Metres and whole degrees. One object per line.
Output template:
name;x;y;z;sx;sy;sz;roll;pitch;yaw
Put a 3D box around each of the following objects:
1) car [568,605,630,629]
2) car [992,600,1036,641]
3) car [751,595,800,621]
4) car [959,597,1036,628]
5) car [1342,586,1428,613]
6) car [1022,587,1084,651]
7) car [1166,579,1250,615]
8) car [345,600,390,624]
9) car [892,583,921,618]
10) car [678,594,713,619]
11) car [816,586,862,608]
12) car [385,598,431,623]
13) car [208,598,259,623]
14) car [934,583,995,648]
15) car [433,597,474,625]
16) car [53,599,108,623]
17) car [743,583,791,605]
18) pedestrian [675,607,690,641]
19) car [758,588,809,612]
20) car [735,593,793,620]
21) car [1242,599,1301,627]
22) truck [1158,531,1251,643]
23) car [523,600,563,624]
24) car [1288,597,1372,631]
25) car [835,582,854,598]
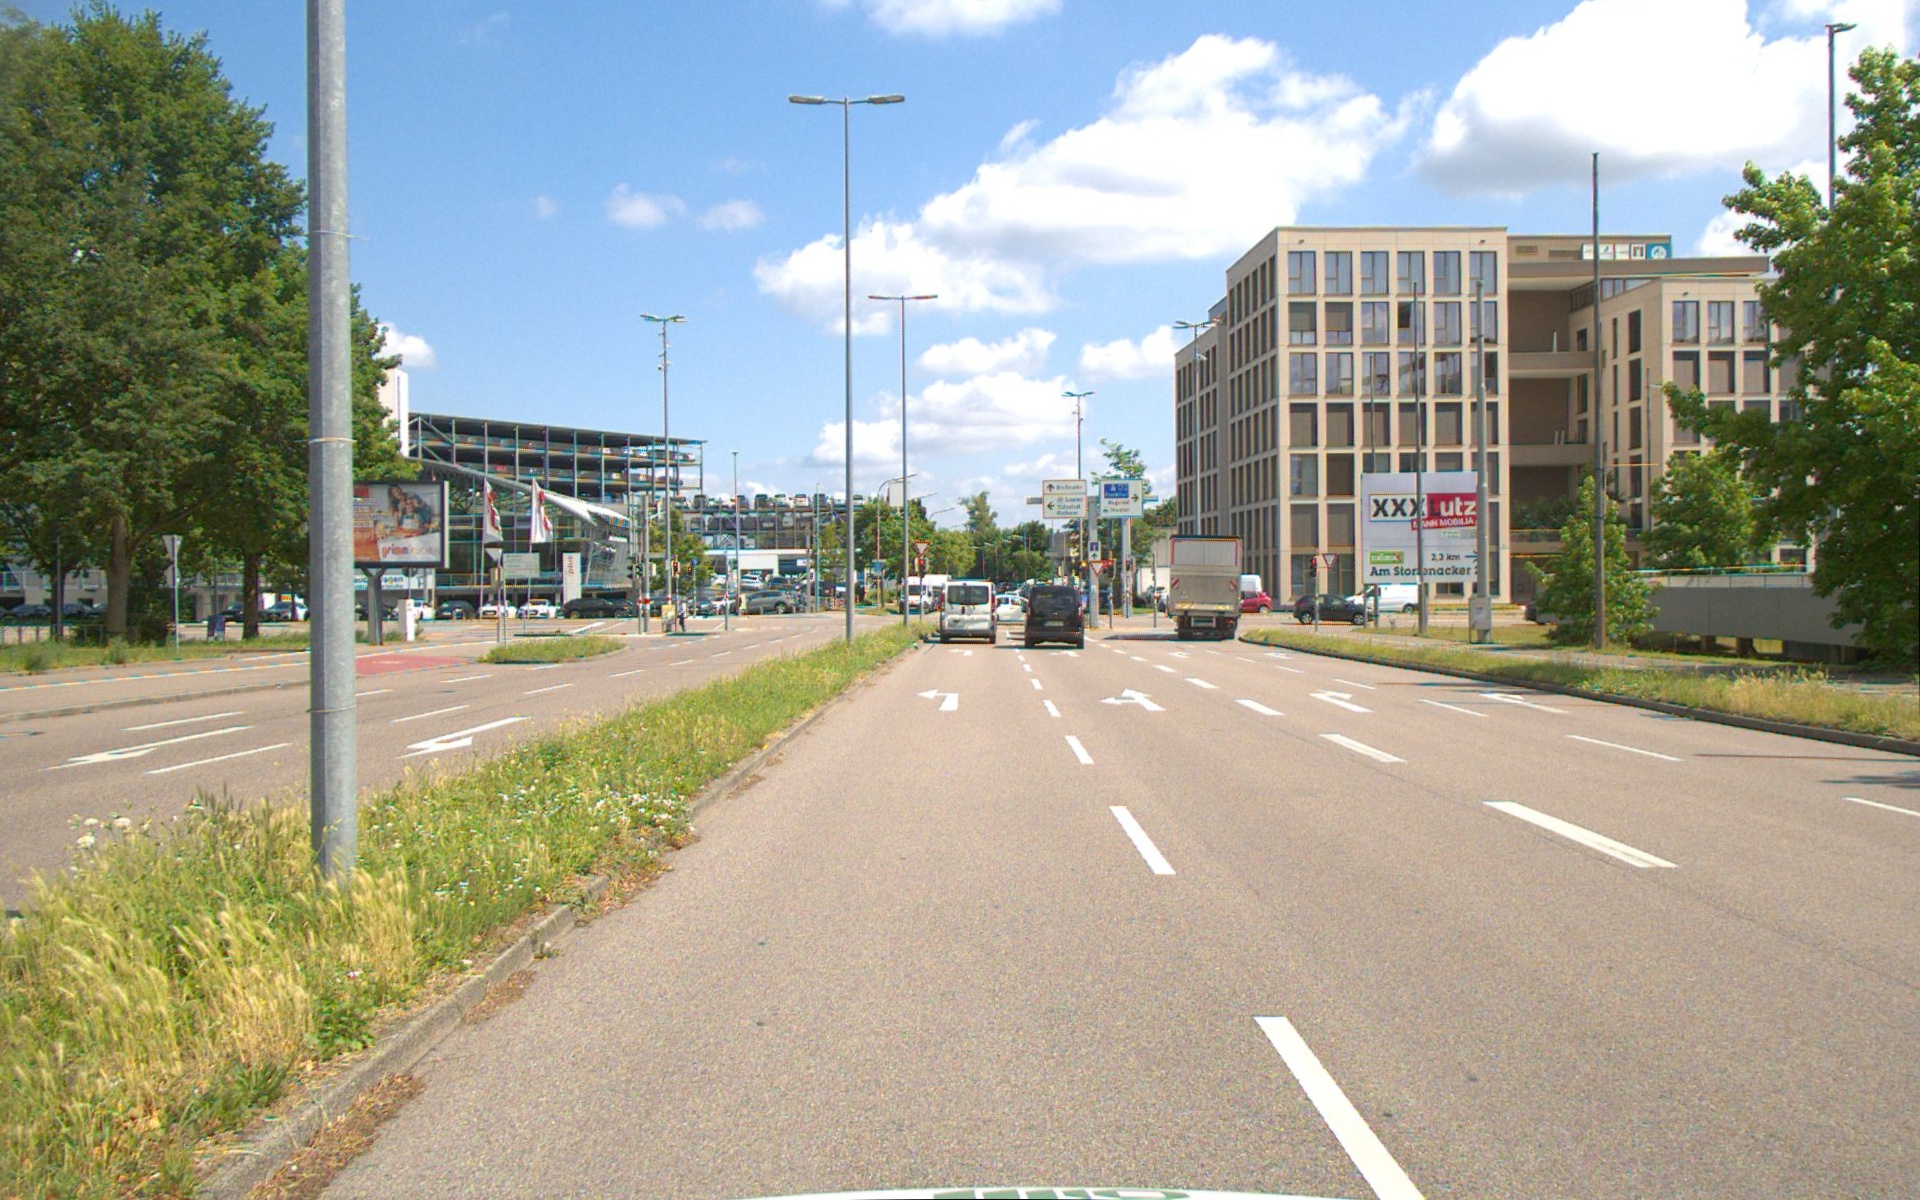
car;-23.374;1.079;107.084;3.717;1.539;1.678;0;1;-5
car;2.142;0.822;66.127;1.704;1.570;4.001;1;0;2
car;-13.762;0.596;123.570;3.438;1.742;1.602;-2;1;-3
car;1.899;0.620;83.654;3.774;1.492;1.694;0;1;-4
car;26.676;-0.023;104.008;4.882;1.635;1.999;0;1;-2
car;2.826;0.551;50.110;1.781;1.840;4.002;1;0;4
car;16.321;-0.209;108.761;5.379;2.294;2.002;0;1;10
car;-38.153;0.760;106.604;1.693;1.512;3.699;0;1;-3
car;-3.718;0.008;115.698;1.931;2.295;4.980;-2;1;-1
car;-17.307;0.419;108.058;1.788;1.579;3.983;0;0;-16
car;-10.562;-0.261;144.373;3.910;1.959;1.824;0;0;-6
car;-35.590;0.673;106.695;1.841;1.512;3.699;0;1;-3
car;-45.868;0.646;104.513;1.800;1.514;3.698;0;1;-4
car;0.178;0.467;54.603;1.817;2.053;4.002;1;1;3
car;-32.676;0.697;106.747;1.722;1.689;3.614;0;1;-3
car;-56.648;0.703;106.611;1.693;1.512;3.699;0;1;-3
car;-16.767;-0.529;143.802;4.084;1.742;1.687;1;1;-5
pedestrian;-12.399;1.072;73.968;0.460;1.538;0.511;0;0;26
car;-13.944;0.015;130.946;3.834;1.742;1.688;-2;1;-3
car;-13.358;0.417;112.964;3.784;1.668;1.857;-2;1;-3
car;18.557;0.783;98.452;3.206;1.429;1.335;0;9;-2
truck;9.586;-0.525;64.062;3.063;4.009;8.866;0;1;12
car;-27.016;0.791;107.331;1.740;1.475;4.027;0;1;-3
car;18.597;0.708;83.231;4.056;1.529;1.628;-2;1;12
car;-11.513;-1.023;165.359;1.809;1.556;3.997;0;1;-4
